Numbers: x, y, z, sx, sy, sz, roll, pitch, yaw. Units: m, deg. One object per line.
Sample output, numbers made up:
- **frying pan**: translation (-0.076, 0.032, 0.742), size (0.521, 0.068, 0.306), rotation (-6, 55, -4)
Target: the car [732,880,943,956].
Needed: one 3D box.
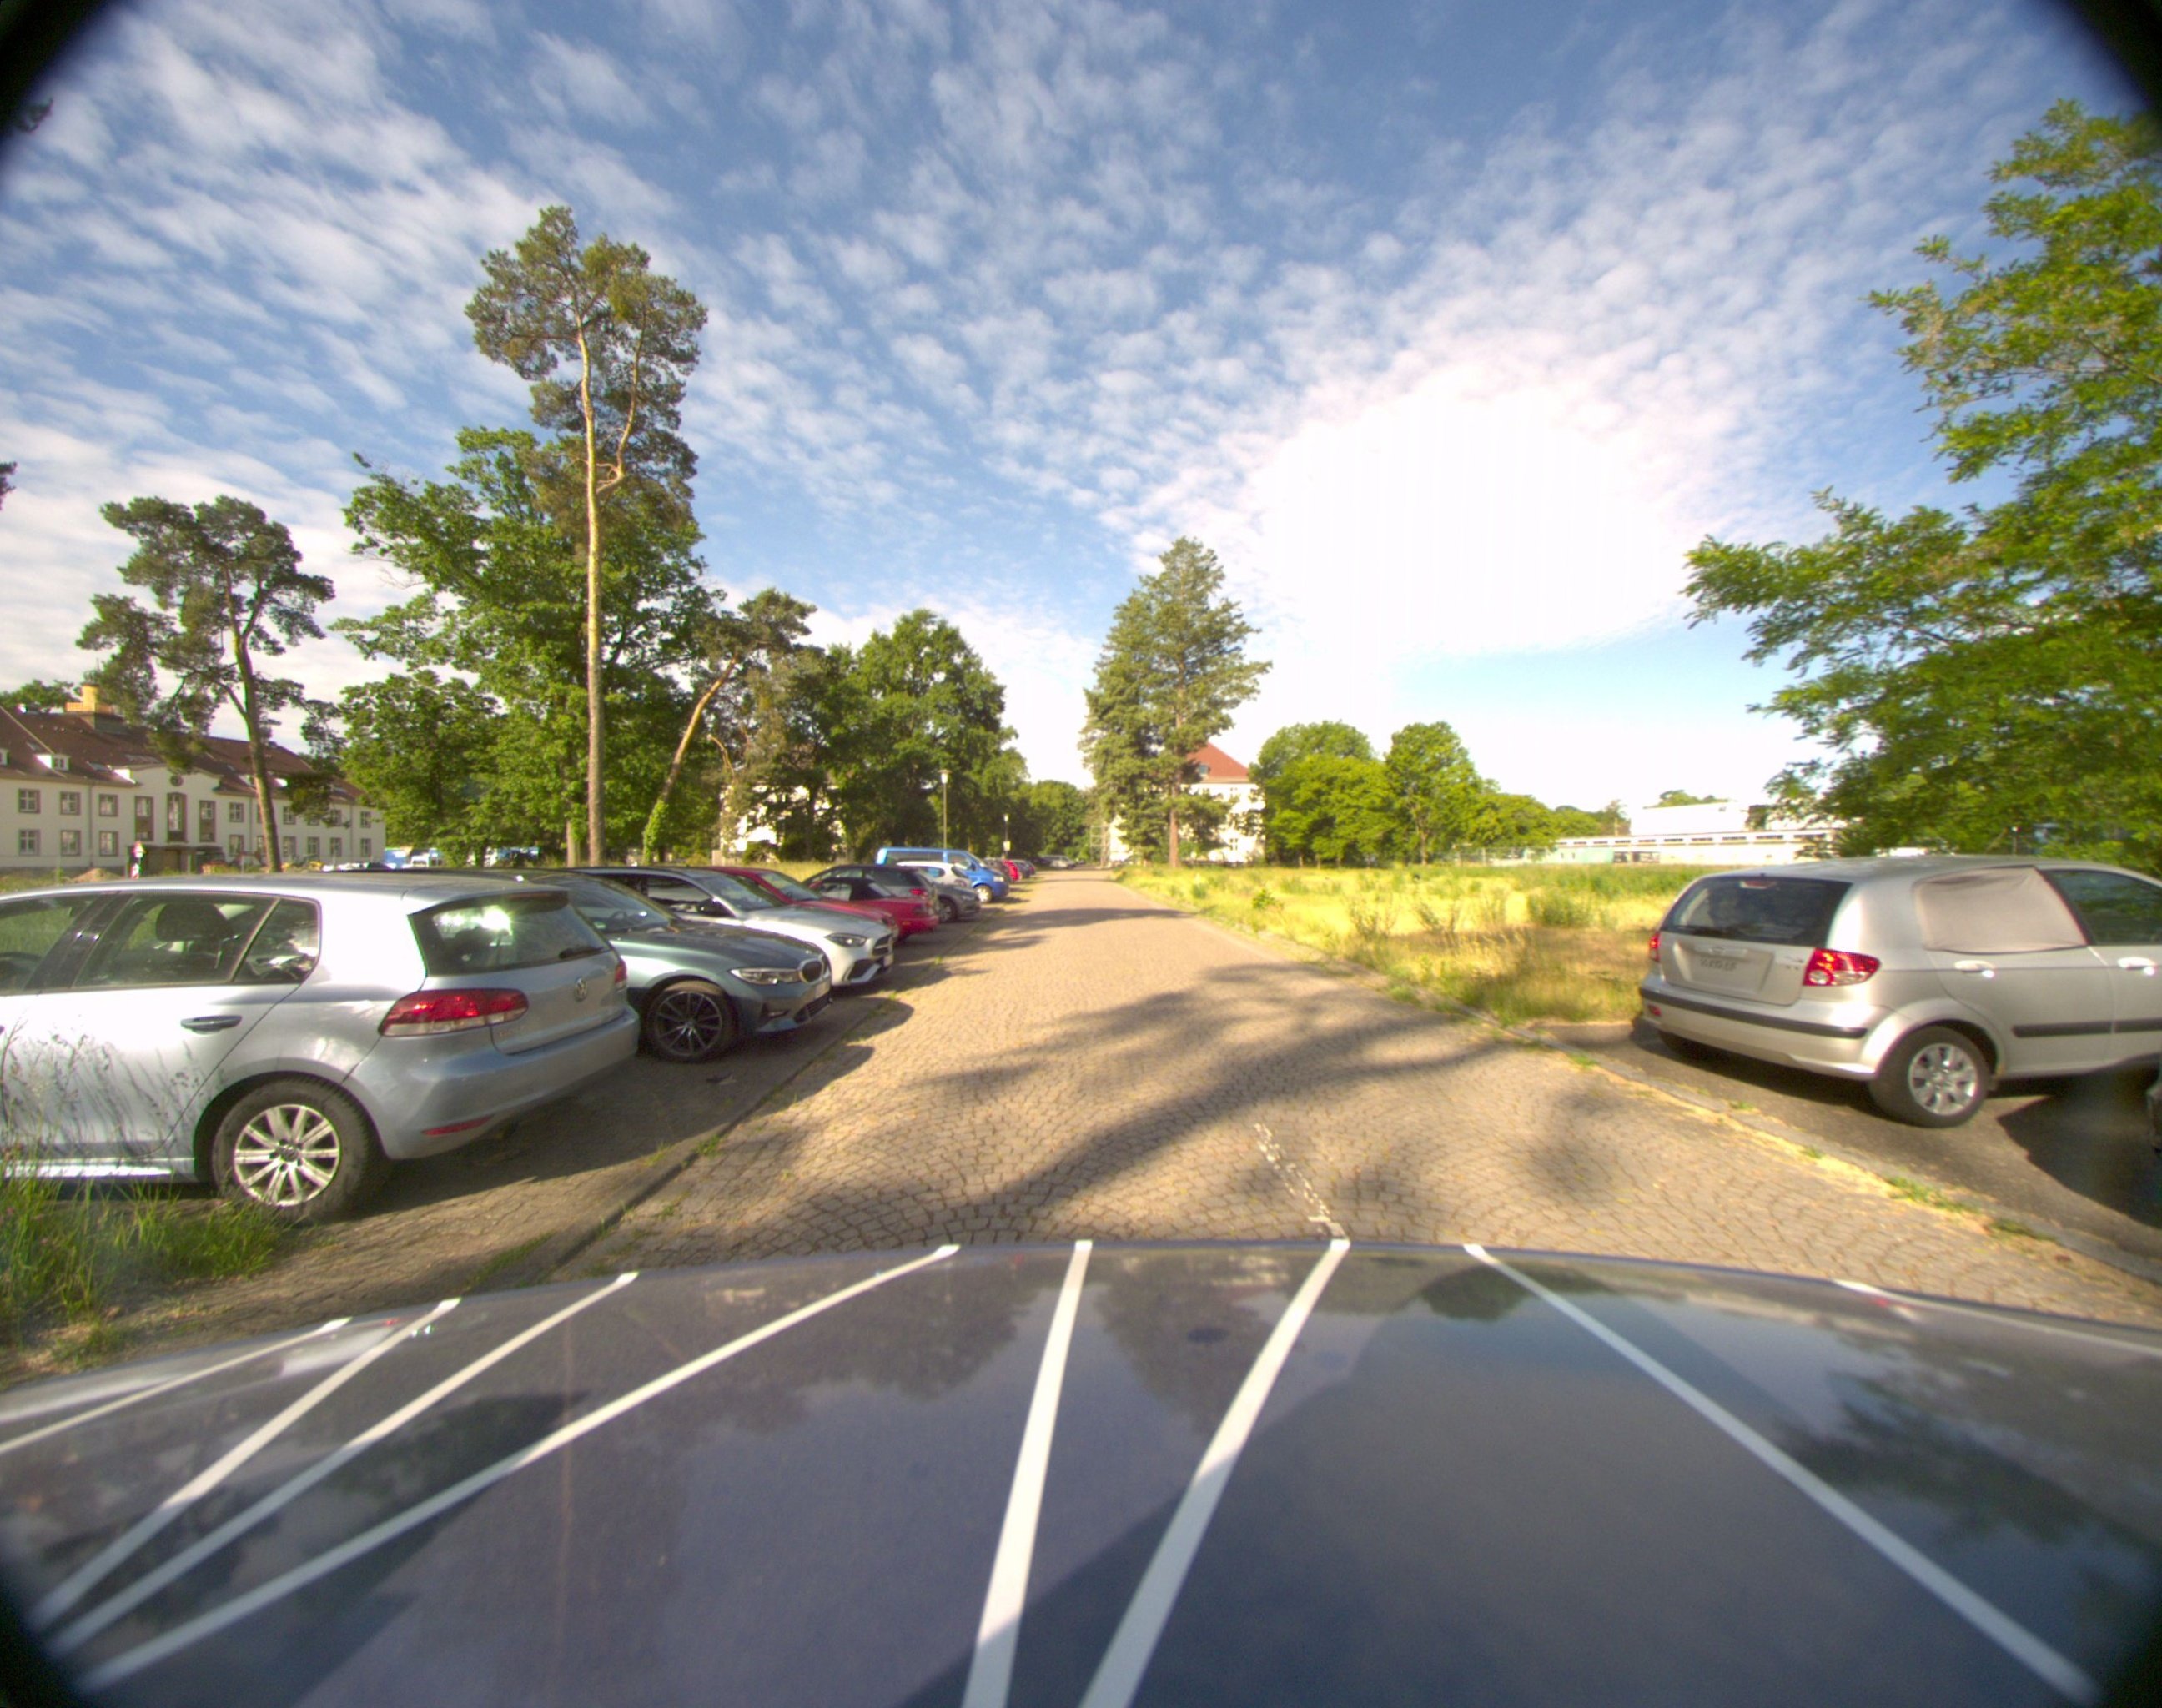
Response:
- **car**: translation (-4.298, 1.120, 13.743), size (3.357, 1.248, 1.419), rotation (0, 0, -2)

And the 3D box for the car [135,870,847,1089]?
- **car**: translation (-4.511, 0.942, 6.454), size (4.508, 1.508, 1.825), rotation (1, 0, -4)

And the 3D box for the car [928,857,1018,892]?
- **car**: translation (-5.142, 0.963, 36.535), size (3.996, 1.630, 1.757), rotation (0, 0, 2)

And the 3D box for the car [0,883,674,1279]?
- **car**: translation (-4.603, 0.928, 3.885), size (4.026, 1.452, 1.870), rotation (0, 0, -1)

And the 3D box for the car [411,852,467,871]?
- **car**: translation (-69.817, 0.842, 82.683), size (1.998, 2.002, 4.772), rotation (0, 0, 0)

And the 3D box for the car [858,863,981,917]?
- **car**: translation (-4.657, 1.025, 22.218), size (3.264, 1.482, 1.449), rotation (0, 0, 1)

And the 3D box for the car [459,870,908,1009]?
- **car**: translation (-4.506, 0.953, 9.167), size (4.423, 1.394, 1.825), rotation (1, 0, -2)

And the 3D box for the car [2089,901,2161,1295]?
- **car**: translation (5.956, 0.834, 2.239), size (3.807, 1.462, 1.687), rotation (-3, 1, -2)

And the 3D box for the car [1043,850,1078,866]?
- **car**: translation (-2.957, 0.547, 110.574), size (5.069, 2.251, 2.000), rotation (0, 1, -1)

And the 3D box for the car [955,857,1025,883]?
- **car**: translation (-5.579, 0.984, 46.889), size (3.996, 1.509, 1.757), rotation (0, 0, 2)

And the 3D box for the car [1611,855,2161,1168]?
- **car**: translation (5.748, 0.836, 4.936), size (3.475, 1.462, 1.636), rotation (-3, 1, -4)

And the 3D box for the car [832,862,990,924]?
- **car**: translation (-4.287, 0.964, 19.372), size (3.621, 1.482, 1.509), rotation (0, 0, 9)

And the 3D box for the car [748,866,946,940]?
- **car**: translation (-4.922, 1.011, 16.324), size (3.780, 1.482, 1.549), rotation (0, 0, -2)

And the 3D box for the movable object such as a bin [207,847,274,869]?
- **movable object such as a bin**: translation (-91.908, 0.404, 83.149), size (1.999, 2.309, 4.984), rotation (0, 0, -4)

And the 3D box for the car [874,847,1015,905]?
- **car**: translation (-4.866, 0.761, 27.601), size (4.727, 2.002, 2.000), rotation (0, 0, 0)

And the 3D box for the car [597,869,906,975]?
- **car**: translation (-4.787, 0.976, 11.455), size (3.918, 1.385, 1.660), rotation (1, 0, -2)

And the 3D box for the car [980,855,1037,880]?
- **car**: translation (-5.430, 1.028, 57.079), size (3.996, 1.731, 1.757), rotation (-2, 0, 2)

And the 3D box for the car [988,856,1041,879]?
- **car**: translation (-5.417, 1.071, 61.960), size (3.996, 1.605, 1.757), rotation (-3, 1, 3)
